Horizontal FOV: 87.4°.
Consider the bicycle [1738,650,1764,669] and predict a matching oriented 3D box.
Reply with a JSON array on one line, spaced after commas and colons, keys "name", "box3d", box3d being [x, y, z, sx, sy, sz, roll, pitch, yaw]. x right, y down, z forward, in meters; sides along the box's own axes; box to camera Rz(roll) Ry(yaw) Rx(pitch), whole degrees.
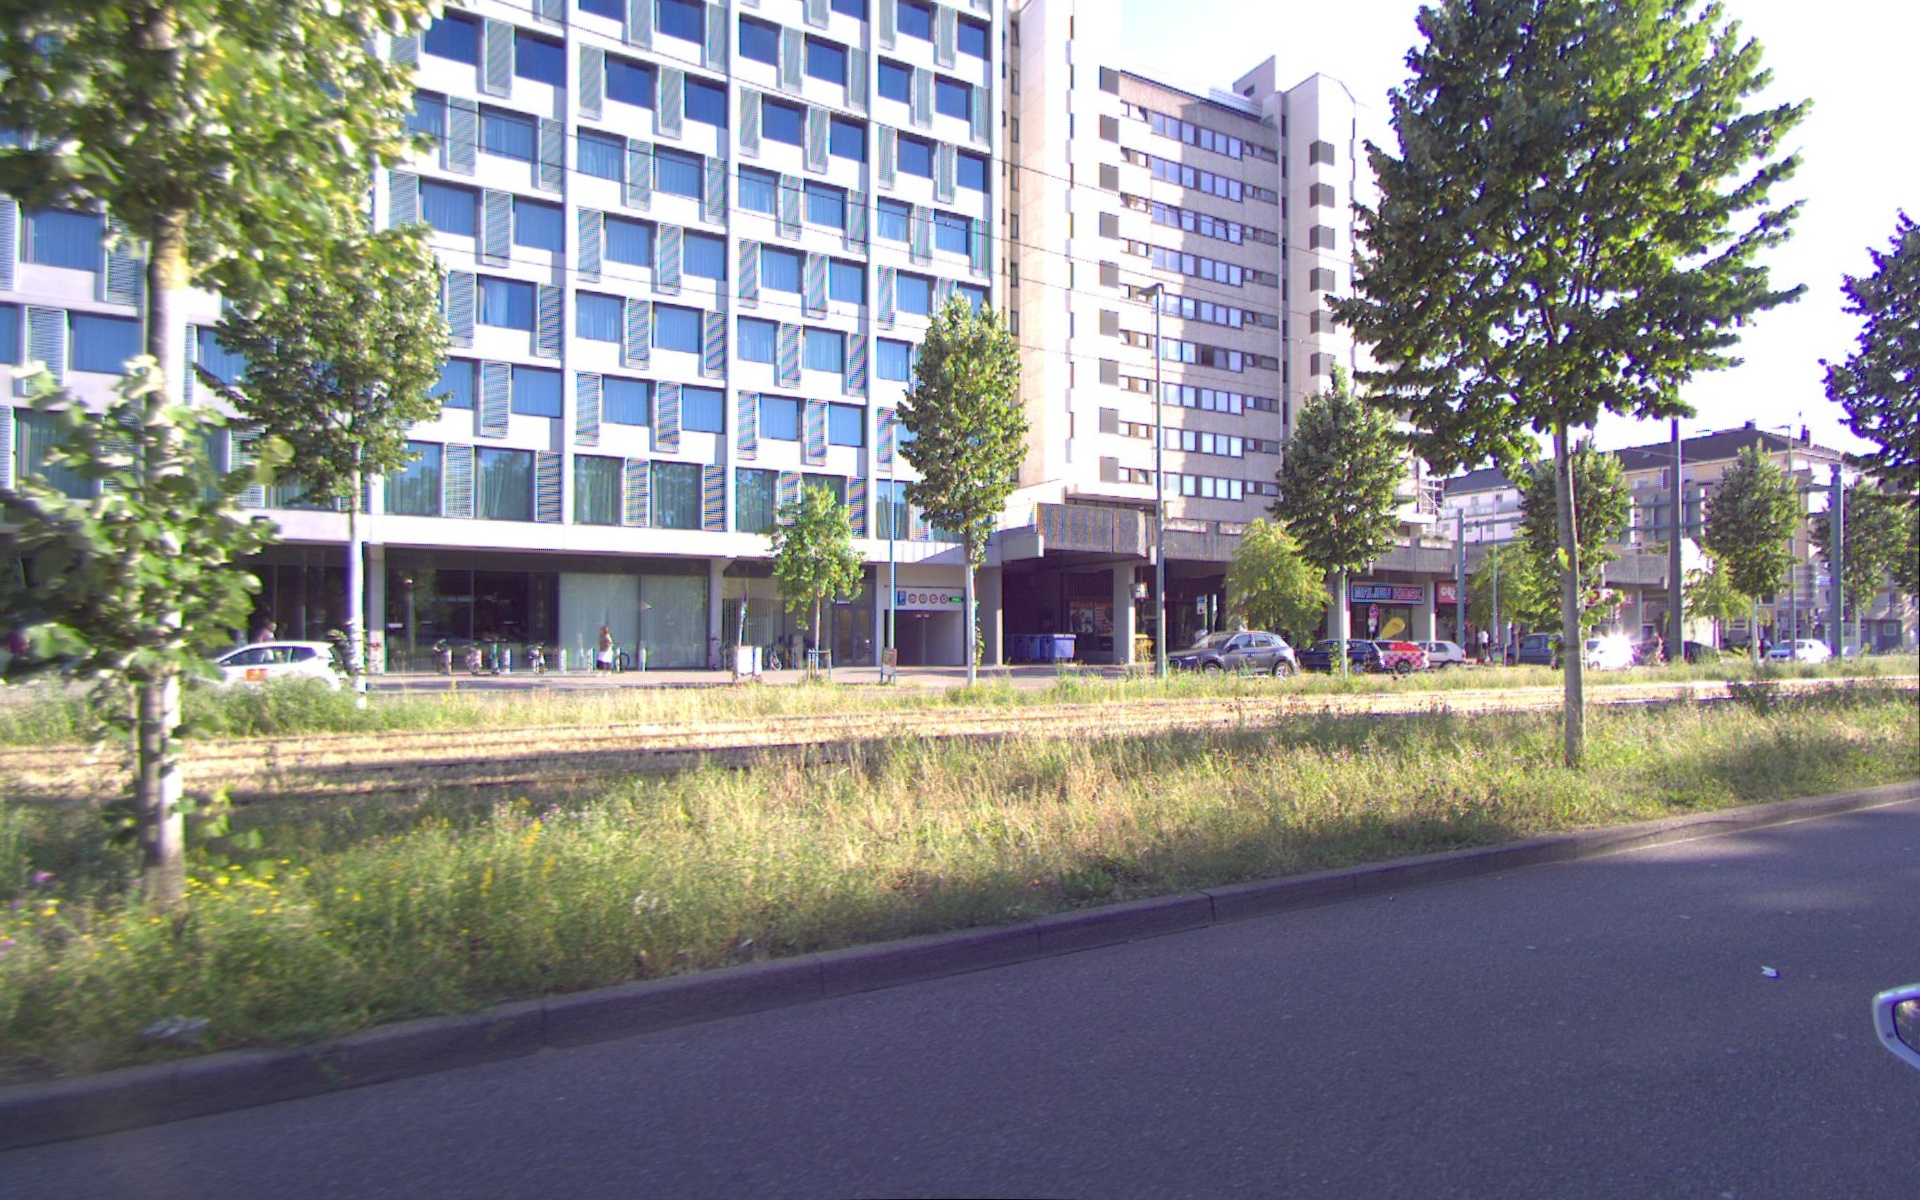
[{"name": "bicycle", "box3d": [44.349, 3.338, 56.340, 1.698, 0.976, 0.603, 1, -1, -31]}]

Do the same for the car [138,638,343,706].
[{"name": "car", "box3d": [-17.523, 1.711, 24.717, 3.823, 1.512, 1.879, 1, -1, -27]}]

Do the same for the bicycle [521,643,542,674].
[{"name": "bicycle", "box3d": [-14.877, 2.019, 34.866, 0.477, 0.979, 1.744, 1, -1, -28]}]

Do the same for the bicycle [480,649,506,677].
[{"name": "bicycle", "box3d": [-15.866, 2.126, 34.084, 0.506, 0.917, 1.793, 1, -2, -34]}]

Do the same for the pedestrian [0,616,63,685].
[{"name": "pedestrian", "box3d": [-25.902, 1.389, 27.951, 0.959, 1.895, 0.973, 0, -1, 8]}]

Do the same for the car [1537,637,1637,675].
[{"name": "car", "box3d": [26.701, 2.347, 42.785, 3.949, 1.535, 1.879, 1, -1, -27]}]

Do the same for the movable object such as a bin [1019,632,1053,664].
[{"name": "movable object such as a bin", "box3d": [3.558, 2.248, 47.079, 1.385, 1.459, 0.797, 1, -2, -29]}]

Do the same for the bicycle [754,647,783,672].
[{"name": "bicycle", "box3d": [-7.373, 2.275, 38.553, 0.506, 0.917, 1.795, 1, -2, -31]}]

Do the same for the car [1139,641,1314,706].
[{"name": "car", "box3d": [7.863, 2.097, 29.535, 5.023, 1.711, 1.879, 1, -1, -27]}]

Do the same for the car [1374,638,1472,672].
[{"name": "car", "box3d": [21.814, 2.583, 47.451, 3.919, 1.472, 1.788, 1, -1, 14]}]

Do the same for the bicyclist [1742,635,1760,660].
[{"name": "bicyclist", "box3d": [44.392, 2.654, 56.353, 0.751, 1.373, 0.589, 1, 0, -31]}]

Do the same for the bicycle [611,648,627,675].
[{"name": "bicycle", "box3d": [-12.105, 2.164, 35.710, 0.504, 0.917, 1.803, 1, -2, -18]}]

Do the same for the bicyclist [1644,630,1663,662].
[{"name": "bicyclist", "box3d": [34.598, 2.283, 50.126, 0.673, 1.565, 0.549, 1, 0, -28]}]

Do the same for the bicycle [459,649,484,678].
[{"name": "bicycle", "box3d": [-16.393, 2.128, 33.672, 0.506, 0.917, 1.793, 1, -2, -34]}]

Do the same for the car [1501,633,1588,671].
[{"name": "car", "box3d": [30.494, 2.678, 52.497, 3.686, 1.853, 1.824, 1, -1, 22]}]

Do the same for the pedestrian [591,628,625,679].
[{"name": "pedestrian", "box3d": [-11.862, 1.795, 33.832, 0.957, 1.675, 0.840, 1, -2, -27]}]

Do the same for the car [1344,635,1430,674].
[{"name": "car", "box3d": [19.442, 2.460, 45.881, 3.555, 1.543, 1.620, 1, 0, 21]}]

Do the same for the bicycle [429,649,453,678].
[{"name": "bicycle", "box3d": [-17.293, 2.112, 33.459, 0.506, 0.917, 1.793, 1, -2, -34]}]

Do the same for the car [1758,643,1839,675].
[{"name": "car", "box3d": [43.660, 3.029, 52.303, 3.949, 1.535, 1.879, 1, -1, -27]}]

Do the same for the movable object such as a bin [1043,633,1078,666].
[{"name": "movable object such as a bin", "box3d": [4.517, 2.241, 45.305, 1.385, 1.459, 0.797, 1, -2, -29]}]

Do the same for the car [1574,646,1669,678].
[{"name": "car", "box3d": [36.775, 3.430, 55.947, 3.919, 1.595, 2.001, 1, -1, 14]}]

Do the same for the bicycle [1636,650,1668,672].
[{"name": "bicycle", "box3d": [34.496, 3.048, 50.069, 1.768, 1.053, 0.552, 1, 0, -28]}]

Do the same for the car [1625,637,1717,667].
[{"name": "car", "box3d": [40.732, 2.962, 57.634, 3.921, 1.584, 2.000, 1, -1, 20]}]

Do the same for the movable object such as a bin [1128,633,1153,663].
[{"name": "movable object such as a bin", "box3d": [8.485, 2.251, 47.178, 0.857, 1.389, 0.818, 1, -2, -28]}]

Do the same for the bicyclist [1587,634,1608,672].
[{"name": "bicyclist", "box3d": [31.121, 2.590, 49.030, 0.848, 1.812, 0.537, 1, 0, -32]}]

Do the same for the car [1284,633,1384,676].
[{"name": "car", "box3d": [16.434, 2.373, 44.197, 4.016, 1.622, 1.749, 2, 1, 21]}]

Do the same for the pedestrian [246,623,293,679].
[{"name": "pedestrian", "box3d": [-21.429, 1.567, 31.185, 1.045, 1.692, 0.973, 1, -2, -27]}]

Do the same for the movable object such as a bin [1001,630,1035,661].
[{"name": "movable object such as a bin", "box3d": [2.791, 2.173, 48.188, 1.385, 1.459, 0.937, 1, -2, -29]}]

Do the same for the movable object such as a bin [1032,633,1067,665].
[{"name": "movable object such as a bin", "box3d": [4.114, 2.244, 46.076, 1.385, 1.459, 0.797, 1, -2, -29]}]
